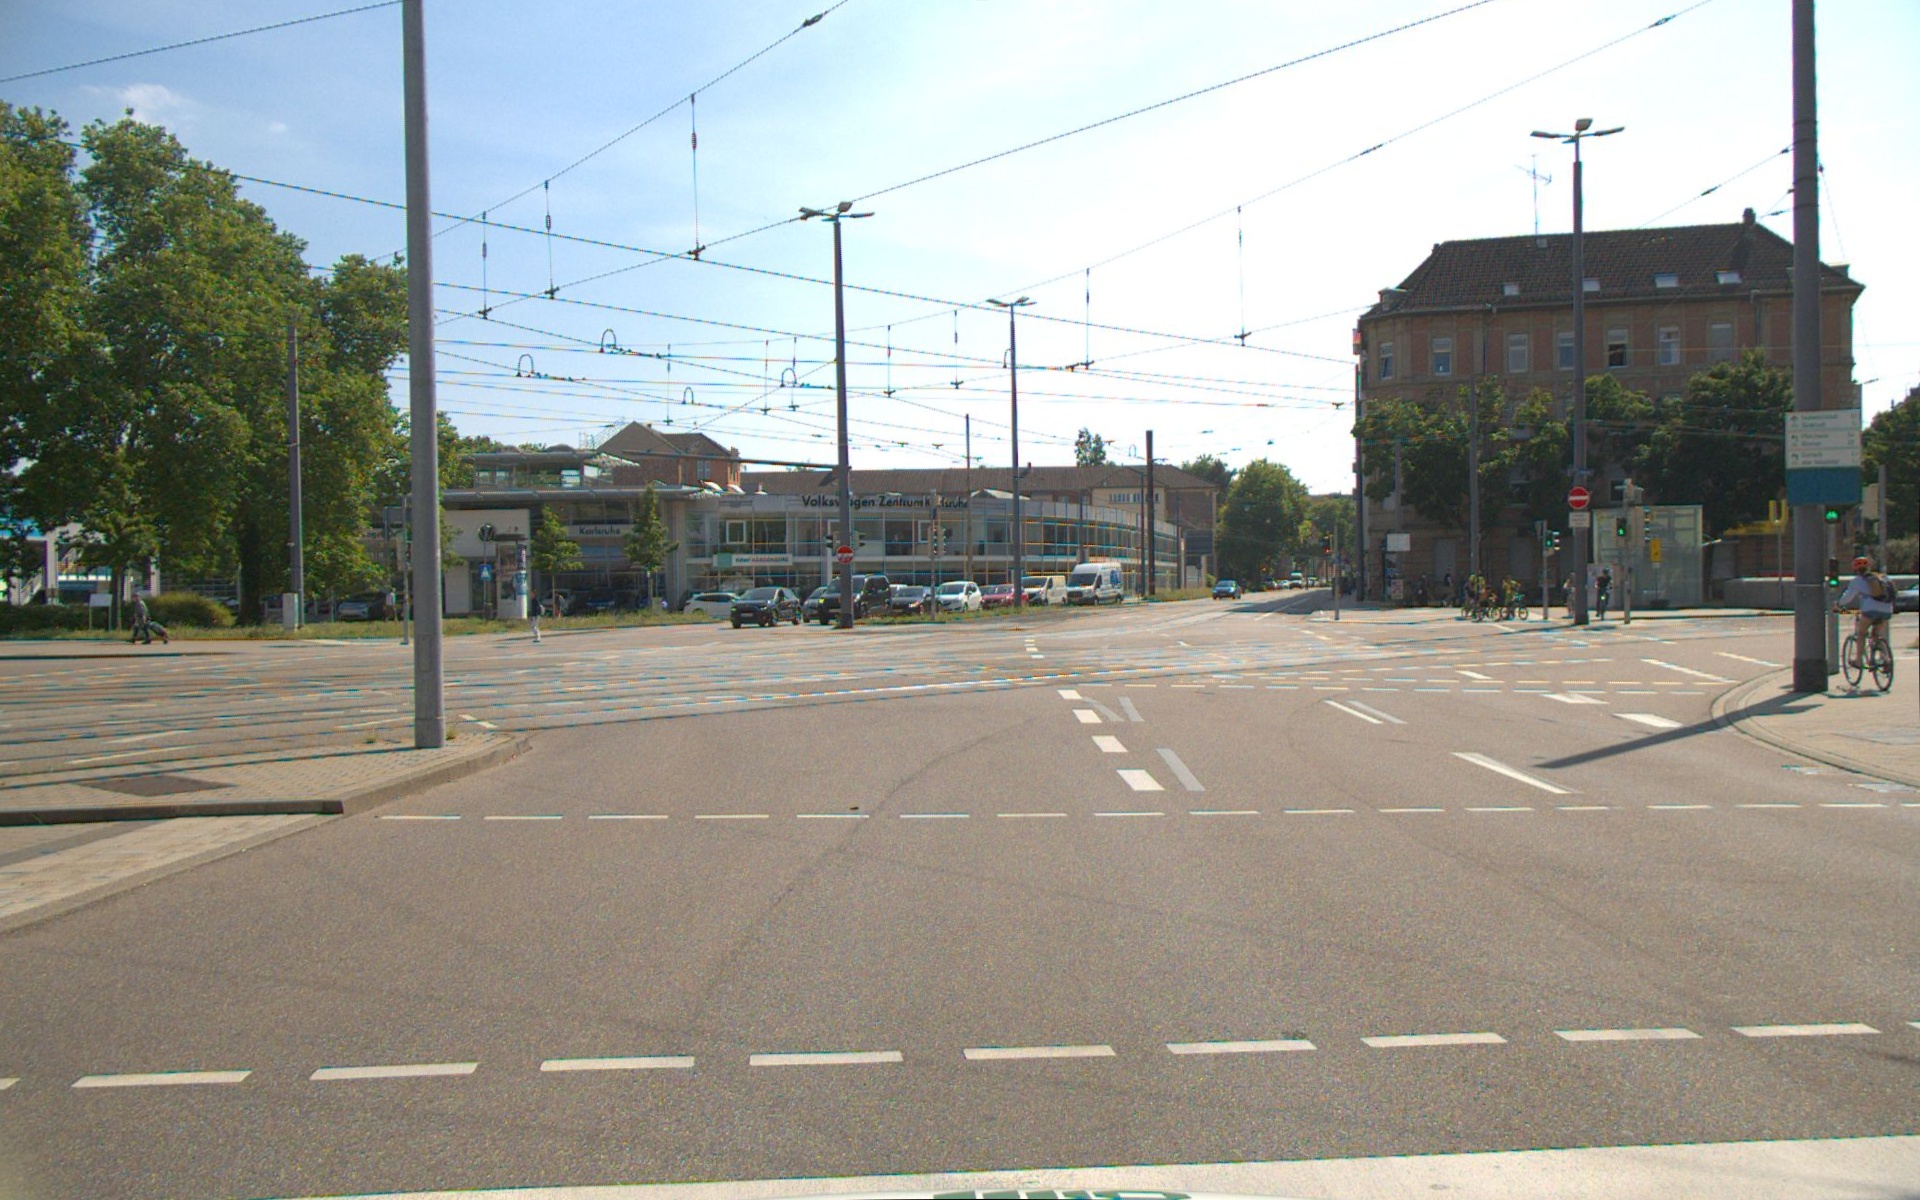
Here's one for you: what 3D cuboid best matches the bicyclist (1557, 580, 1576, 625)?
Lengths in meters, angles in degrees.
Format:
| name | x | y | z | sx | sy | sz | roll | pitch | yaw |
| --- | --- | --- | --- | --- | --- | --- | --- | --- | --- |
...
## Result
| name | x | y | z | sx | sy | sz | roll | pitch | yaw |
| --- | --- | --- | --- | --- | --- | --- | --- | --- | --- |
| bicyclist | 22.837 | 0.093 | 62.258 | 0.489 | 1.649 | 0.650 | 1 | 0 | 4 |

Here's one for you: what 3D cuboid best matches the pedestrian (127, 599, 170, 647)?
| name | x | y | z | sx | sy | sz | roll | pitch | yaw |
| --- | --- | --- | --- | --- | --- | --- | --- | --- | --- |
| pedestrian | -24.677 | 0.693 | 50.311 | 1.098 | 1.428 | 0.652 | 1 | -1 | -23 |

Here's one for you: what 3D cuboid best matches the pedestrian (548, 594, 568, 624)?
| name | x | y | z | sx | sy | sz | roll | pitch | yaw |
| --- | --- | --- | --- | --- | --- | --- | --- | --- | --- |
| pedestrian | -21.811 | 0.508 | 89.829 | 0.934 | 1.607 | 0.534 | 1 | -1 | -4 |

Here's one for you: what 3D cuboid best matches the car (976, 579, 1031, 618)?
| name | x | y | z | sx | sy | sz | roll | pitch | yaw |
| --- | --- | --- | --- | --- | --- | --- | --- | --- | --- |
| car | 2.266 | -0.057 | 85.348 | 1.854 | 1.950 | 4.203 | -1 | -1 | 16 |

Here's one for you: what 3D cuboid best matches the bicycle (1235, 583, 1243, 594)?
| name | x | y | z | sx | sy | sz | roll | pitch | yaw |
| --- | --- | --- | --- | --- | --- | --- | --- | --- | --- |
| bicycle | 31.214 | -1.321 | 185.240 | 0.736 | 1.215 | 2.841 | 1 | 0 | 13 |

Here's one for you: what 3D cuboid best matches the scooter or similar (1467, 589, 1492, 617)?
| name | x | y | z | sx | sy | sz | roll | pitch | yaw |
| --- | --- | --- | --- | --- | --- | --- | --- | --- | --- |
| scooter or similar | 18.912 | 0.112 | 60.190 | 0.574 | 0.993 | 0.992 | 1 | 0 | -1 |

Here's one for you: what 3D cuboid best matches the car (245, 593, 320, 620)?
| name | x | y | z | sx | sy | sz | roll | pitch | yaw |
| --- | --- | --- | --- | --- | --- | --- | --- | --- | --- |
| car | -42.647 | 0.418 | 104.148 | 3.907 | 1.579 | 1.999 | -1 | 0 | -3 |

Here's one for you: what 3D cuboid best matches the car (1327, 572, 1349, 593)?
| name | x | y | z | sx | sy | sz | roll | pitch | yaw |
| --- | --- | --- | --- | --- | --- | --- | --- | --- | --- |
| car | 38.015 | -1.727 | 166.228 | 2.063 | 2.049 | 4.003 | -1 | 0 | 13 |

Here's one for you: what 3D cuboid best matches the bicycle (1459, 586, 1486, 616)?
| name | x | y | z | sx | sy | sz | roll | pitch | yaw |
| --- | --- | --- | --- | --- | --- | --- | --- | --- | --- |
| bicycle | 19.475 | 0.041 | 62.875 | 0.907 | 1.088 | 2.748 | 1 | 0 | 17 |

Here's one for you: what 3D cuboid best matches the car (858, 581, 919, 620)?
| name | x | y | z | sx | sy | sz | roll | pitch | yaw |
| --- | --- | --- | --- | --- | --- | --- | --- | --- | --- |
| car | -3.361 | 0.058 | 78.042 | 1.616 | 1.769 | 4.203 | -1 | -1 | 16 |

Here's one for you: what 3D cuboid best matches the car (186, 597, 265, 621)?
| name | x | y | z | sx | sy | sz | roll | pitch | yaw |
| --- | --- | --- | --- | --- | --- | --- | --- | --- | --- |
| car | -44.864 | 0.537 | 101.070 | 3.906 | 1.395 | 1.999 | 1 | 0 | -1 |

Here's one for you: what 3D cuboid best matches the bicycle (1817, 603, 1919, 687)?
| name | x | y | z | sx | sy | sz | roll | pitch | yaw |
| --- | --- | --- | --- | --- | --- | --- | --- | --- | --- |
| bicycle | 12.505 | 0.593 | 22.601 | 0.699 | 1.033 | 2.022 | -3 | 0 | 7 |

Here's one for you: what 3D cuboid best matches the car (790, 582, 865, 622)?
| name | x | y | z | sx | sy | sz | roll | pitch | yaw |
| --- | --- | --- | --- | --- | --- | --- | --- | --- | --- |
| car | -5.634 | 0.103 | 70.685 | 1.854 | 1.615 | 4.002 | -1 | -1 | 16 |

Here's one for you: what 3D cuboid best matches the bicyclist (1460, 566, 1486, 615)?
| name | x | y | z | sx | sy | sz | roll | pitch | yaw |
| --- | --- | --- | --- | --- | --- | --- | --- | --- | --- |
| bicyclist | 19.445 | -0.352 | 62.700 | 0.907 | 1.852 | 1.053 | 1 | -1 | 17 |

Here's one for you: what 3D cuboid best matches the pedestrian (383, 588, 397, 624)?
| name | x | y | z | sx | sy | sz | roll | pitch | yaw |
| --- | --- | --- | --- | --- | --- | --- | --- | --- | --- |
| pedestrian | -25.888 | 0.257 | 75.138 | 0.384 | 1.624 | 0.464 | 1 | -1 | 23 |

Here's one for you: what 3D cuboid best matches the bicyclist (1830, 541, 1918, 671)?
| name | x | y | z | sx | sy | sz | roll | pitch | yaw |
| --- | --- | --- | --- | --- | --- | --- | --- | --- | --- |
| bicyclist | 12.469 | 0.078 | 22.594 | 0.699 | 1.698 | 0.875 | -3 | 0 | 7 |

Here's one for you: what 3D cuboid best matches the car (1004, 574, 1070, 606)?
| name | x | y | z | sx | sy | sz | roll | pitch | yaw |
| --- | --- | --- | --- | --- | --- | --- | --- | --- | --- |
| car | 4.340 | -0.585 | 92.433 | 2.140 | 1.710 | 5.029 | -1 | 0 | 22 |

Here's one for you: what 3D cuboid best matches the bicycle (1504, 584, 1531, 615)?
| name | x | y | z | sx | sy | sz | roll | pitch | yaw |
| --- | --- | --- | --- | --- | --- | --- | --- | --- | --- |
| bicycle | 20.696 | -0.039 | 61.409 | 0.907 | 1.088 | 2.842 | 1 | 1 | 18 |

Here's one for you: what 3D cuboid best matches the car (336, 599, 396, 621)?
| name | x | y | z | sx | sy | sz | roll | pitch | yaw |
| --- | --- | --- | --- | --- | --- | --- | --- | --- | --- |
| car | -35.983 | 0.592 | 100.258 | 1.951 | 1.266 | 4.002 | 1 | 0 | 4 |

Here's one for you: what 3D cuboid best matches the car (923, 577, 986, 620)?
| name | x | y | z | sx | sy | sz | roll | pitch | yaw |
| --- | --- | --- | --- | --- | --- | --- | --- | --- | --- |
| car | -0.230 | -0.035 | 78.412 | 1.854 | 1.950 | 4.203 | -1 | -1 | 16 |

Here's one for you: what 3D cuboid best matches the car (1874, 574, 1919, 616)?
| name | x | y | z | sx | sy | sz | roll | pitch | yaw |
| --- | --- | --- | --- | --- | --- | --- | --- | --- | --- |
| car | 37.499 | -0.206 | 63.984 | 3.929 | 1.611 | 1.628 | -1 | 0 | -21 |

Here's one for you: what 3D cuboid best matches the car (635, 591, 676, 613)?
| name | x | y | z | sx | sy | sz | roll | pitch | yaw |
| --- | --- | --- | --- | --- | --- | --- | --- | --- | --- |
| car | -18.330 | 0.124 | 99.670 | 1.793 | 1.216 | 3.998 | 1 | 0 | -2 |

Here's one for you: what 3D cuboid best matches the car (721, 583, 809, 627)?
| name | x | y | z | sx | sy | sz | roll | pitch | yaw |
| --- | --- | --- | --- | --- | --- | --- | --- | --- | --- |
| car | -7.469 | 0.214 | 63.846 | 1.851 | 1.615 | 4.213 | -1 | -1 | 16 |

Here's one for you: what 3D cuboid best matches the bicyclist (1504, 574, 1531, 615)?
| name | x | y | z | sx | sy | sz | roll | pitch | yaw |
| --- | --- | --- | --- | --- | --- | --- | --- | --- | --- |
| bicyclist | 20.678 | -0.215 | 61.370 | 0.907 | 1.477 | 1.252 | 1 | 1 | 18 |

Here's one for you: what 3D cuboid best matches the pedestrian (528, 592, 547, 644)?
| name | x | y | z | sx | sy | sz | roll | pitch | yaw |
| --- | --- | --- | --- | --- | --- | --- | --- | --- | --- |
| pedestrian | -13.452 | 0.582 | 52.634 | 0.449 | 1.633 | 0.395 | 1 | -1 | -37 |

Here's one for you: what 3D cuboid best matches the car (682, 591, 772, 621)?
| name | x | y | z | sx | sy | sz | roll | pitch | yaw |
| --- | --- | --- | --- | --- | --- | --- | --- | --- | --- |
| car | -12.296 | 0.310 | 87.268 | 4.487 | 1.461 | 1.445 | 1 | 0 | 13 |

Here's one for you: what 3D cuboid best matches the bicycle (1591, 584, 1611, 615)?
| name | x | y | z | sx | sy | sz | roll | pitch | yaw |
| --- | --- | --- | --- | --- | --- | --- | --- | --- | --- |
| bicycle | 23.587 | -0.023 | 60.871 | 0.653 | 1.088 | 2.463 | 1 | 1 | 22 |

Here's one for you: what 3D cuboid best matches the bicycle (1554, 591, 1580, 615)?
| name | x | y | z | sx | sy | sz | roll | pitch | yaw |
| --- | --- | --- | --- | --- | --- | --- | --- | --- | --- |
| bicycle | 22.840 | 0.099 | 62.204 | 0.489 | 0.881 | 1.588 | 1 | 1 | 4 |

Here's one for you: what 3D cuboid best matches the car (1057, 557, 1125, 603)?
| name | x | y | z | sx | sy | sz | roll | pitch | yaw |
| --- | --- | --- | --- | --- | --- | --- | --- | --- | --- |
| car | 7.943 | -1.163 | 99.625 | 2.165 | 2.620 | 5.870 | 1 | 0 | 25 |

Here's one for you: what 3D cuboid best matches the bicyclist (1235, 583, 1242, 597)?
| name | x | y | z | sx | sy | sz | roll | pitch | yaw |
| --- | --- | --- | --- | --- | --- | --- | --- | --- | --- |
| bicyclist | 31.217 | -1.098 | 185.285 | 0.736 | 1.595 | 1.088 | 1 | -1 | 13 |

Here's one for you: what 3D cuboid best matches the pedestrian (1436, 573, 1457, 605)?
| name | x | y | z | sx | sy | sz | roll | pitch | yaw |
| --- | --- | --- | --- | --- | --- | --- | --- | --- | --- |
| pedestrian | 21.836 | -0.495 | 74.260 | 0.608 | 1.458 | 0.703 | 1 | -1 | -38 |

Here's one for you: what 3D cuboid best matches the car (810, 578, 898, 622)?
| name | x | y | z | sx | sy | sz | roll | pitch | yaw |
| --- | --- | --- | --- | --- | --- | --- | --- | --- | --- |
| car | -4.085 | -0.026 | 64.512 | 1.919 | 1.615 | 4.719 | -1 | 0 | 16 |

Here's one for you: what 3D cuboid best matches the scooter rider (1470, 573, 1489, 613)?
| name | x | y | z | sx | sy | sz | roll | pitch | yaw |
| --- | --- | --- | --- | --- | --- | --- | --- | --- | --- |
| scooter rider | 18.903 | -0.252 | 60.178 | 0.575 | 1.422 | 0.406 | 1 | -1 | -1 |

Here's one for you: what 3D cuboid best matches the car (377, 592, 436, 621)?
| name | x | y | z | sx | sy | sz | roll | pitch | yaw |
| --- | --- | --- | --- | --- | --- | --- | --- | --- | --- |
| car | -33.675 | 0.410 | 100.689 | 1.951 | 1.713 | 4.002 | 1 | 0 | 4 |

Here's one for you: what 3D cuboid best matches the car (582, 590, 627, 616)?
| name | x | y | z | sx | sy | sz | roll | pitch | yaw |
| --- | --- | --- | --- | --- | --- | --- | --- | --- | --- |
| car | -21.460 | 0.192 | 100.011 | 1.953 | 1.512 | 3.998 | 1 | 0 | -2 |

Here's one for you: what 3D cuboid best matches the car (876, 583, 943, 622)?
| name | x | y | z | sx | sy | sz | roll | pitch | yaw |
| --- | --- | --- | --- | --- | --- | --- | --- | --- | --- |
| car | -2.140 | 0.124 | 71.089 | 1.854 | 1.615 | 4.003 | -1 | -1 | 13 |

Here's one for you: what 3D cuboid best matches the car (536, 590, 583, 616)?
| name | x | y | z | sx | sy | sz | roll | pitch | yaw |
| --- | --- | --- | --- | --- | --- | --- | --- | --- | --- |
| car | -24.188 | 0.201 | 99.997 | 1.953 | 1.512 | 3.998 | 1 | 0 | -2 |

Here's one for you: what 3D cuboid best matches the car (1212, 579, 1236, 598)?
| name | x | y | z | sx | sy | sz | roll | pitch | yaw |
| --- | --- | --- | --- | --- | --- | --- | --- | --- | --- |
| car | 20.815 | -0.909 | 130.276 | 1.355 | 1.439 | 3.013 | 1 | 0 | 18 |

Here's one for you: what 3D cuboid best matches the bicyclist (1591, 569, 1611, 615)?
| name | x | y | z | sx | sy | sz | roll | pitch | yaw |
| --- | --- | --- | --- | --- | --- | --- | --- | --- | --- |
| bicyclist | 23.338 | -0.287 | 60.229 | 0.653 | 1.652 | 0.782 | 1 | 1 | 22 |
